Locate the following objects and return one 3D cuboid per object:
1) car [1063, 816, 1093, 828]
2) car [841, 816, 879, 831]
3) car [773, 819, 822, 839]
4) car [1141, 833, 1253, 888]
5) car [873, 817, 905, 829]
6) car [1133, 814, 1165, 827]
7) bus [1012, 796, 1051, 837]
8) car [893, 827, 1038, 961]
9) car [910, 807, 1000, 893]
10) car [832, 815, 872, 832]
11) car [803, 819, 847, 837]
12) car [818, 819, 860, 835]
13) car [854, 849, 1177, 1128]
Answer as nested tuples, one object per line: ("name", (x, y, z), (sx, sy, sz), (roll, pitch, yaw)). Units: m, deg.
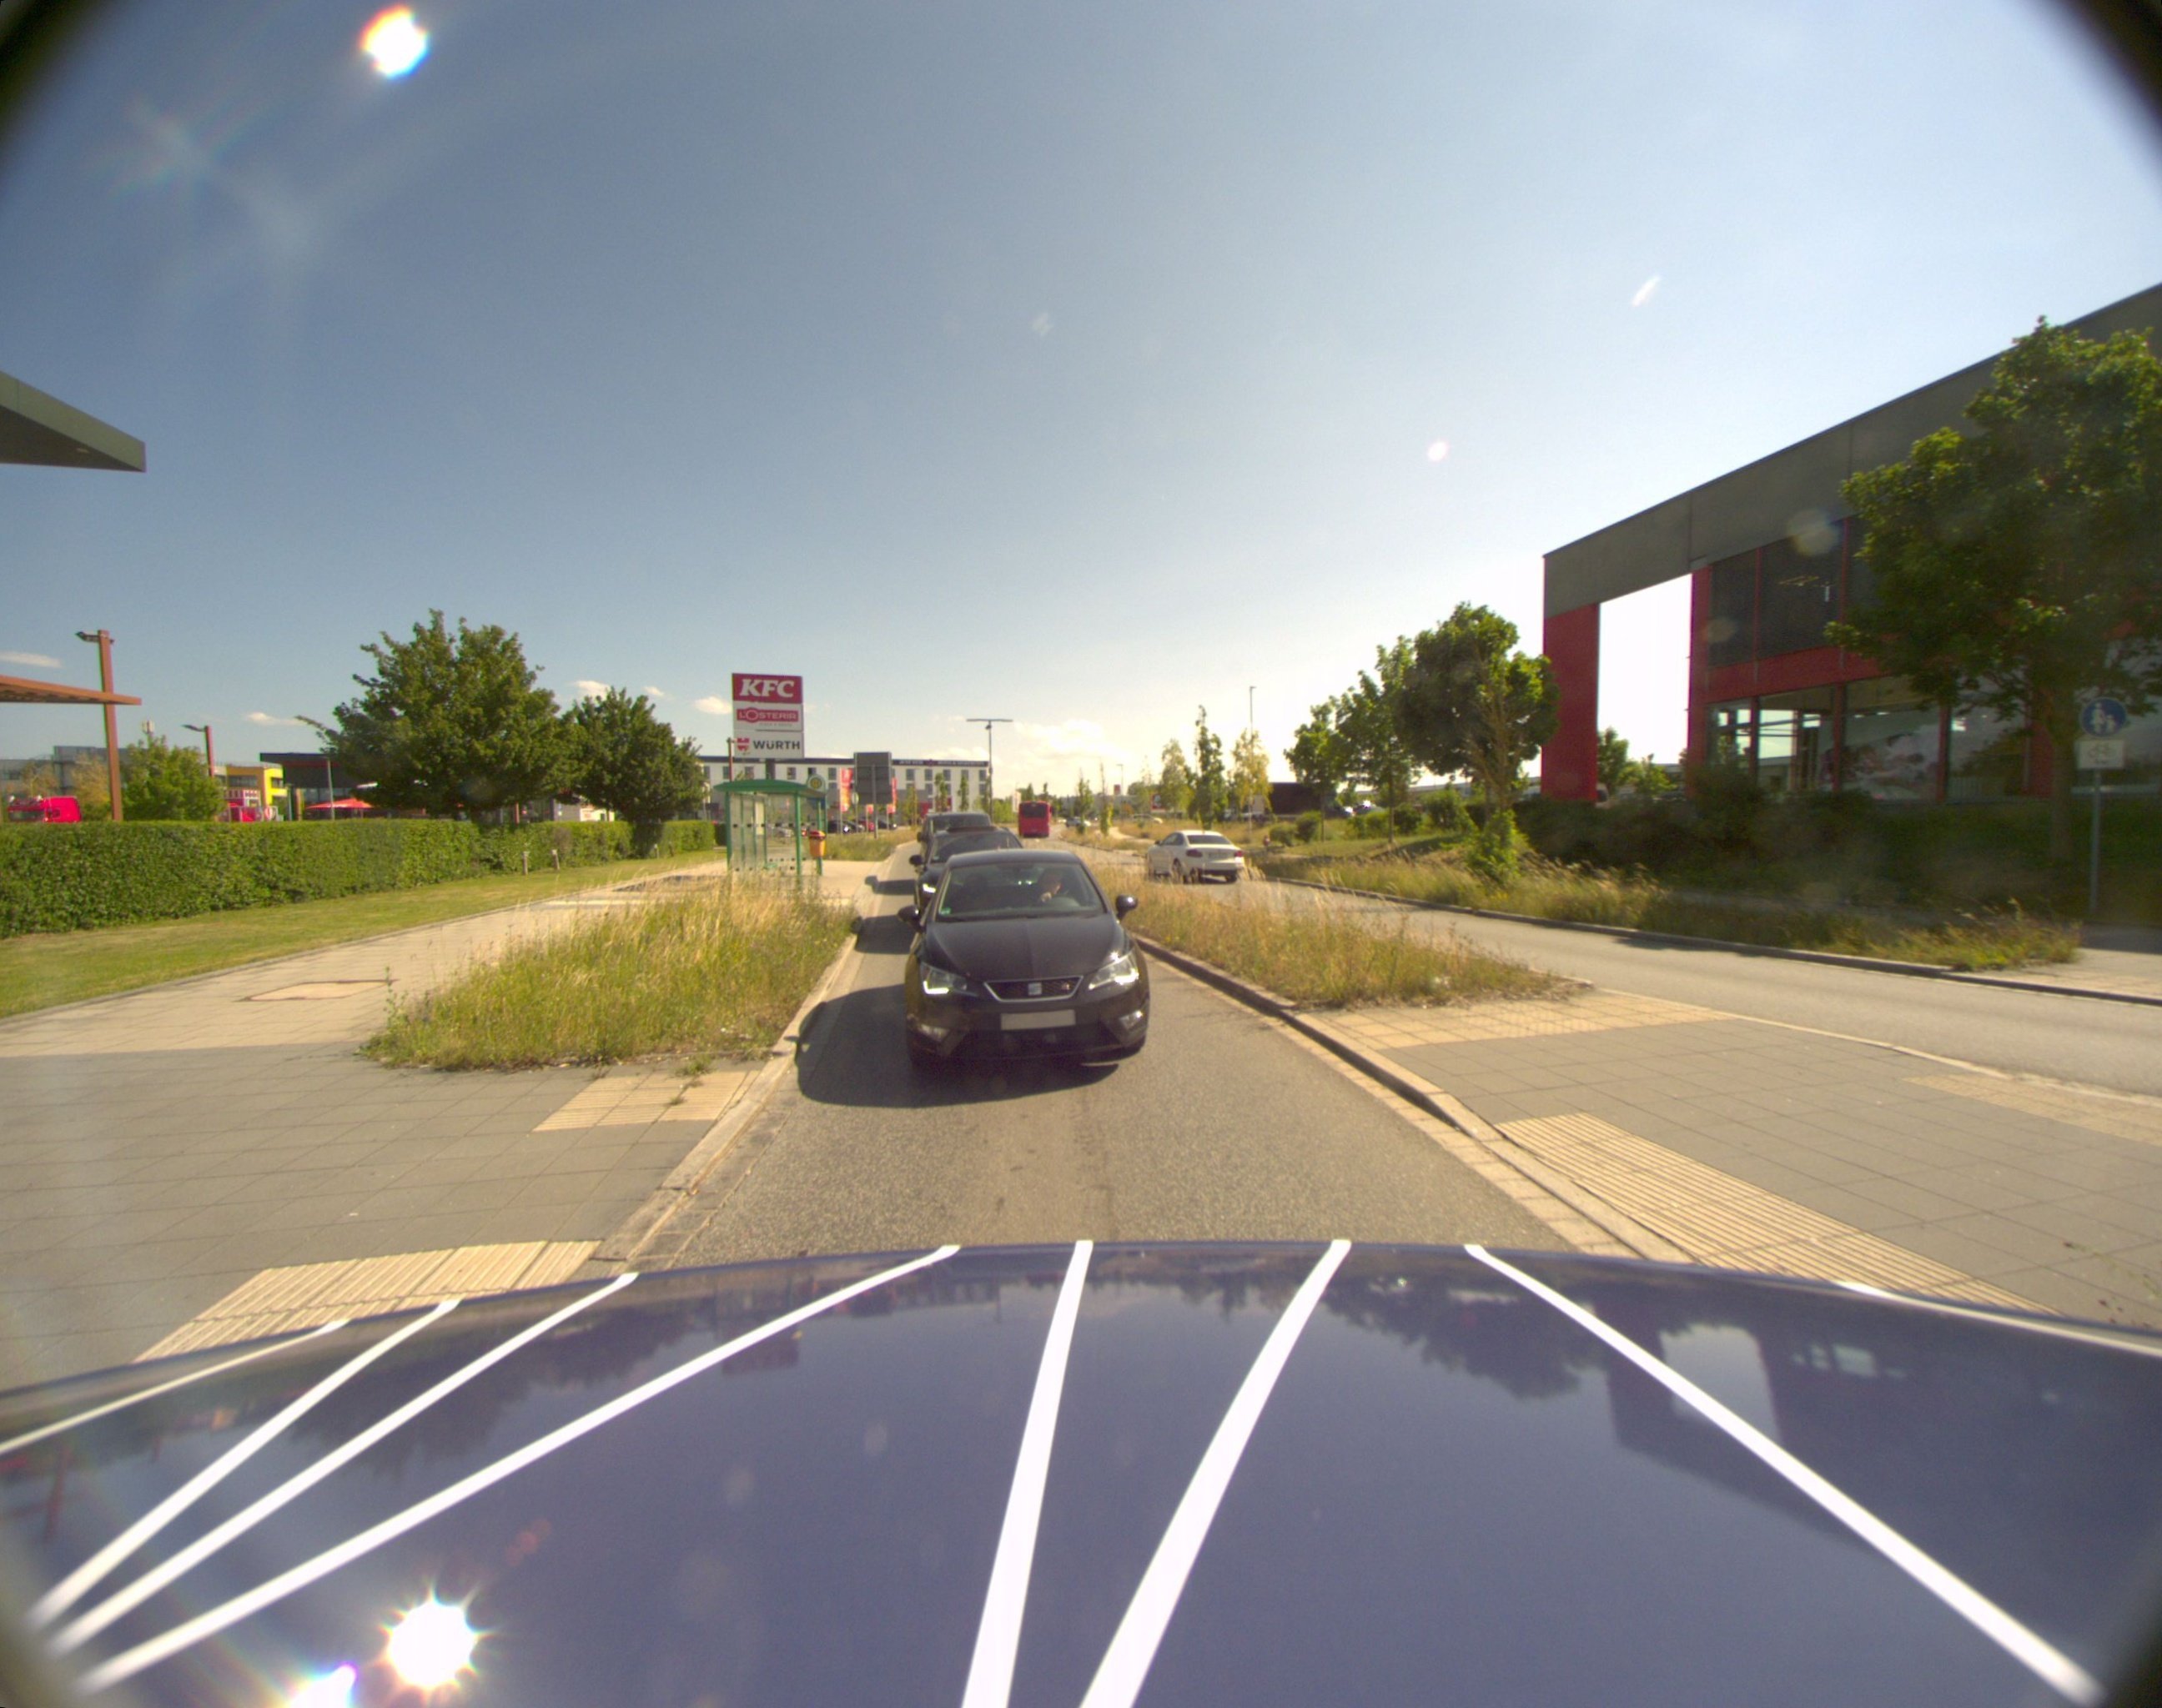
("car", (-0.424, -4.405, 105.342), (3.936, 1.667, 1.621), (1, 3, 23))
("car", (-27.717, -3.813, 95.522), (4.182, 1.752, 1.824), (0, 3, 5))
("car", (-28.947, -2.542, 77.726), (4.183, 2.003, 1.933), (-1, 3, 3))
("car", (3.264, 0.107, 22.351), (1.798, 1.408, 4.375), (0, 2, -12))
("car", (-25.790, -4.178, 101.958), (3.821, 1.611, 1.756), (-1, 3, 2))
("car", (9.211, -4.507, 102.974), (4.279, 1.667, 1.618), (0, 3, 1))
("bus", (-4.498, -3.243, 66.796), (2.617, 3.224, 11.867), (-1, 2, -7))
("car", (-1.908, 0.472, 12.457), (1.863, 1.679, 3.994), (-4, 4, -9))
("car", (-3.529, -0.227, 21.339), (2.081, 2.038, 4.676), (-4, 4, -9))
("car", (-27.784, -3.716, 92.215), (4.184, 2.003, 1.932), (-1, 3, 0))
("car", (-28.510, -2.919, 84.773), (4.183, 2.003, 1.932), (-1, 3, 2))
("car", (-27.728, -3.099, 87.101), (4.182, 1.847, 1.803), (0, 3, 6))
("car", (-0.581, 0.756, 6.422), (1.863, 1.460, 3.996), (-1, 2, -7))
